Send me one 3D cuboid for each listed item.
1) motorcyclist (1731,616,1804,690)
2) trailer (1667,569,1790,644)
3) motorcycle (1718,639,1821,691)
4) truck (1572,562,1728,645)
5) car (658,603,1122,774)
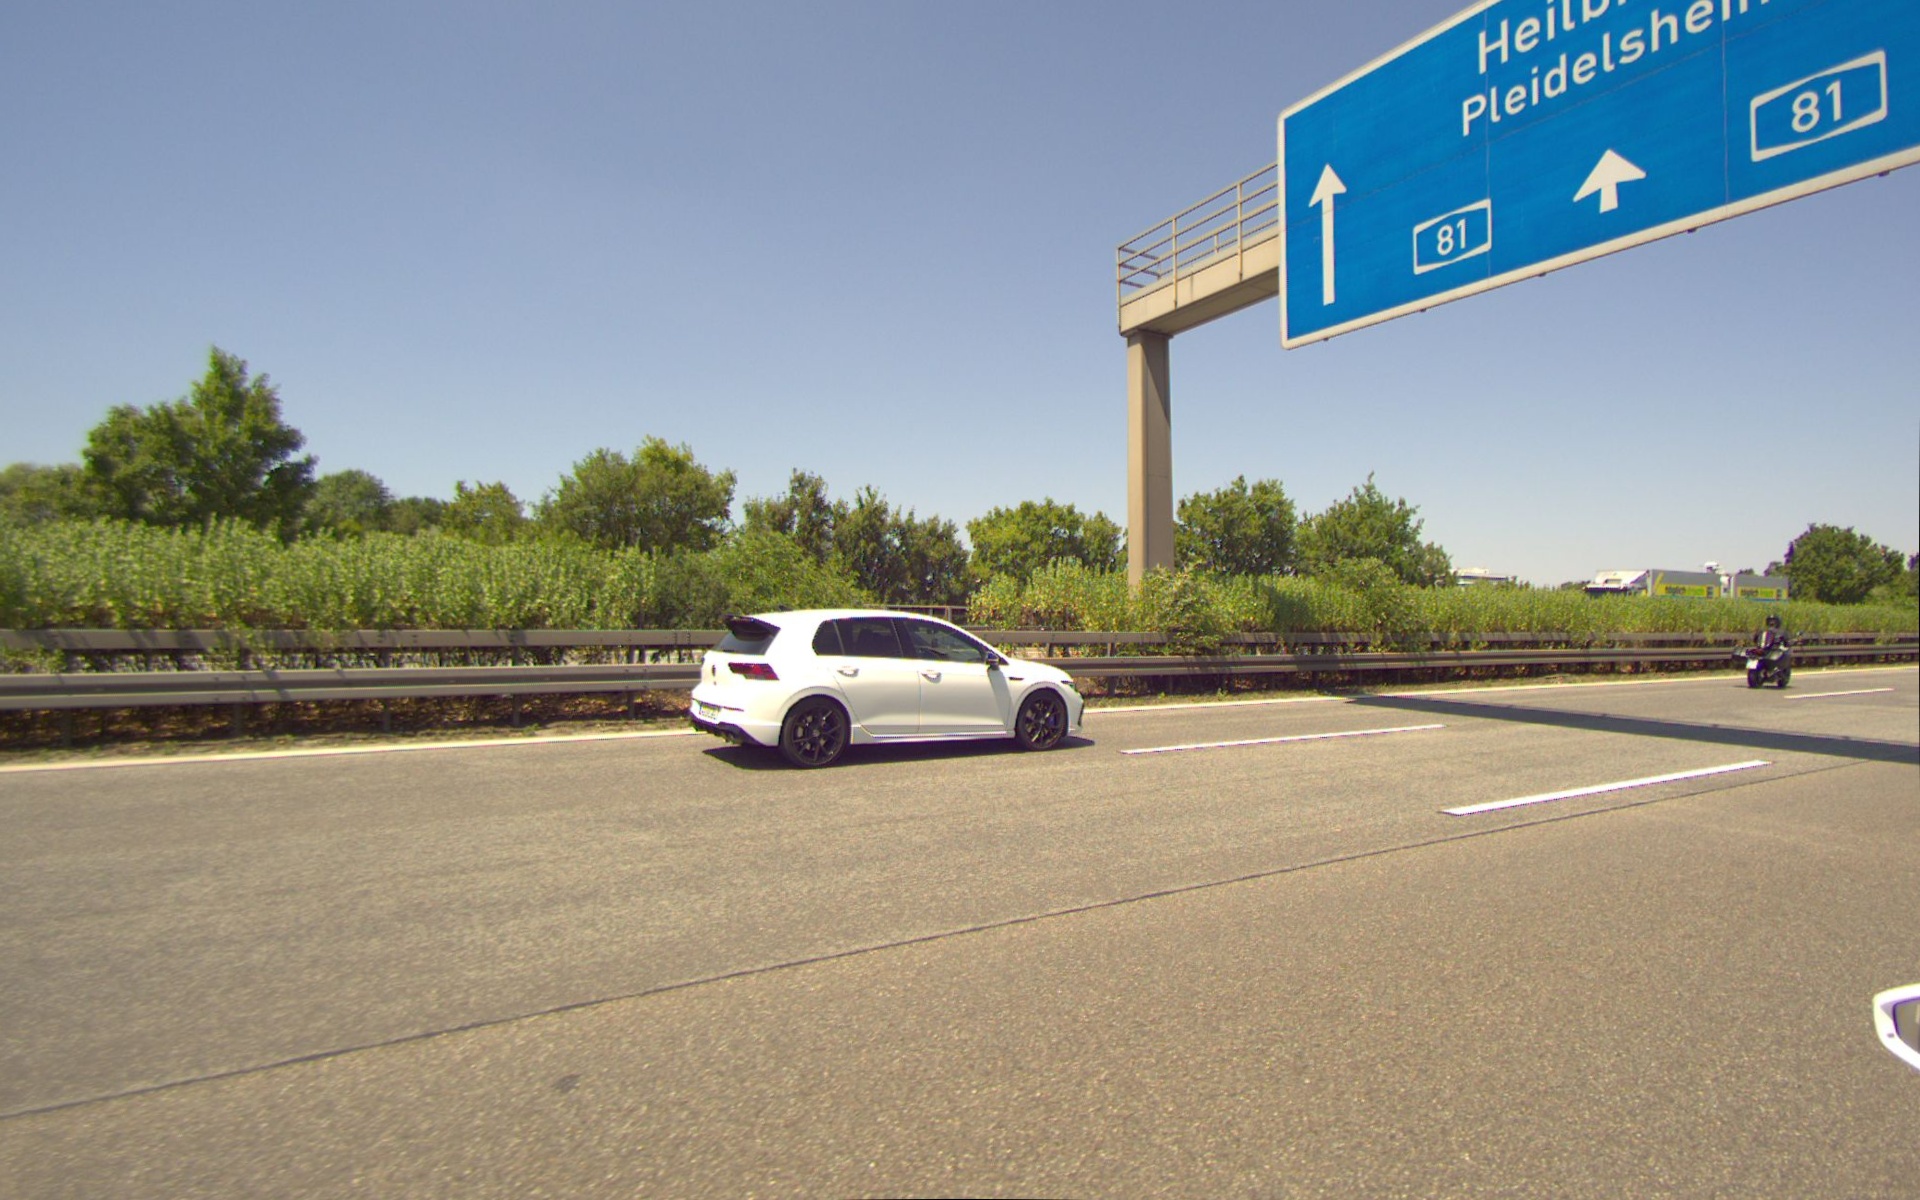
[{"bbox_3d":[18.340,1.187,22.810,1.284,1.618,0.889,1,-1,-30],"label":"motorcyclist"},{"bbox_3d":[44.133,0.432,57.601,8.565,4.020,2.906,1,0,-33],"label":"trailer"},{"bbox_3d":[18.432,1.444,22.852,2.816,1.103,0.908,1,-1,-30],"label":"motorcycle"},{"bbox_3d":[36.178,0.243,52.504,10.209,4.020,2.984,1,0,-33],"label":"truck"},{"bbox_3d":[-0.612,0.814,10.573,4.618,1.459,1.772,1,-1,-33],"label":"car"}]
